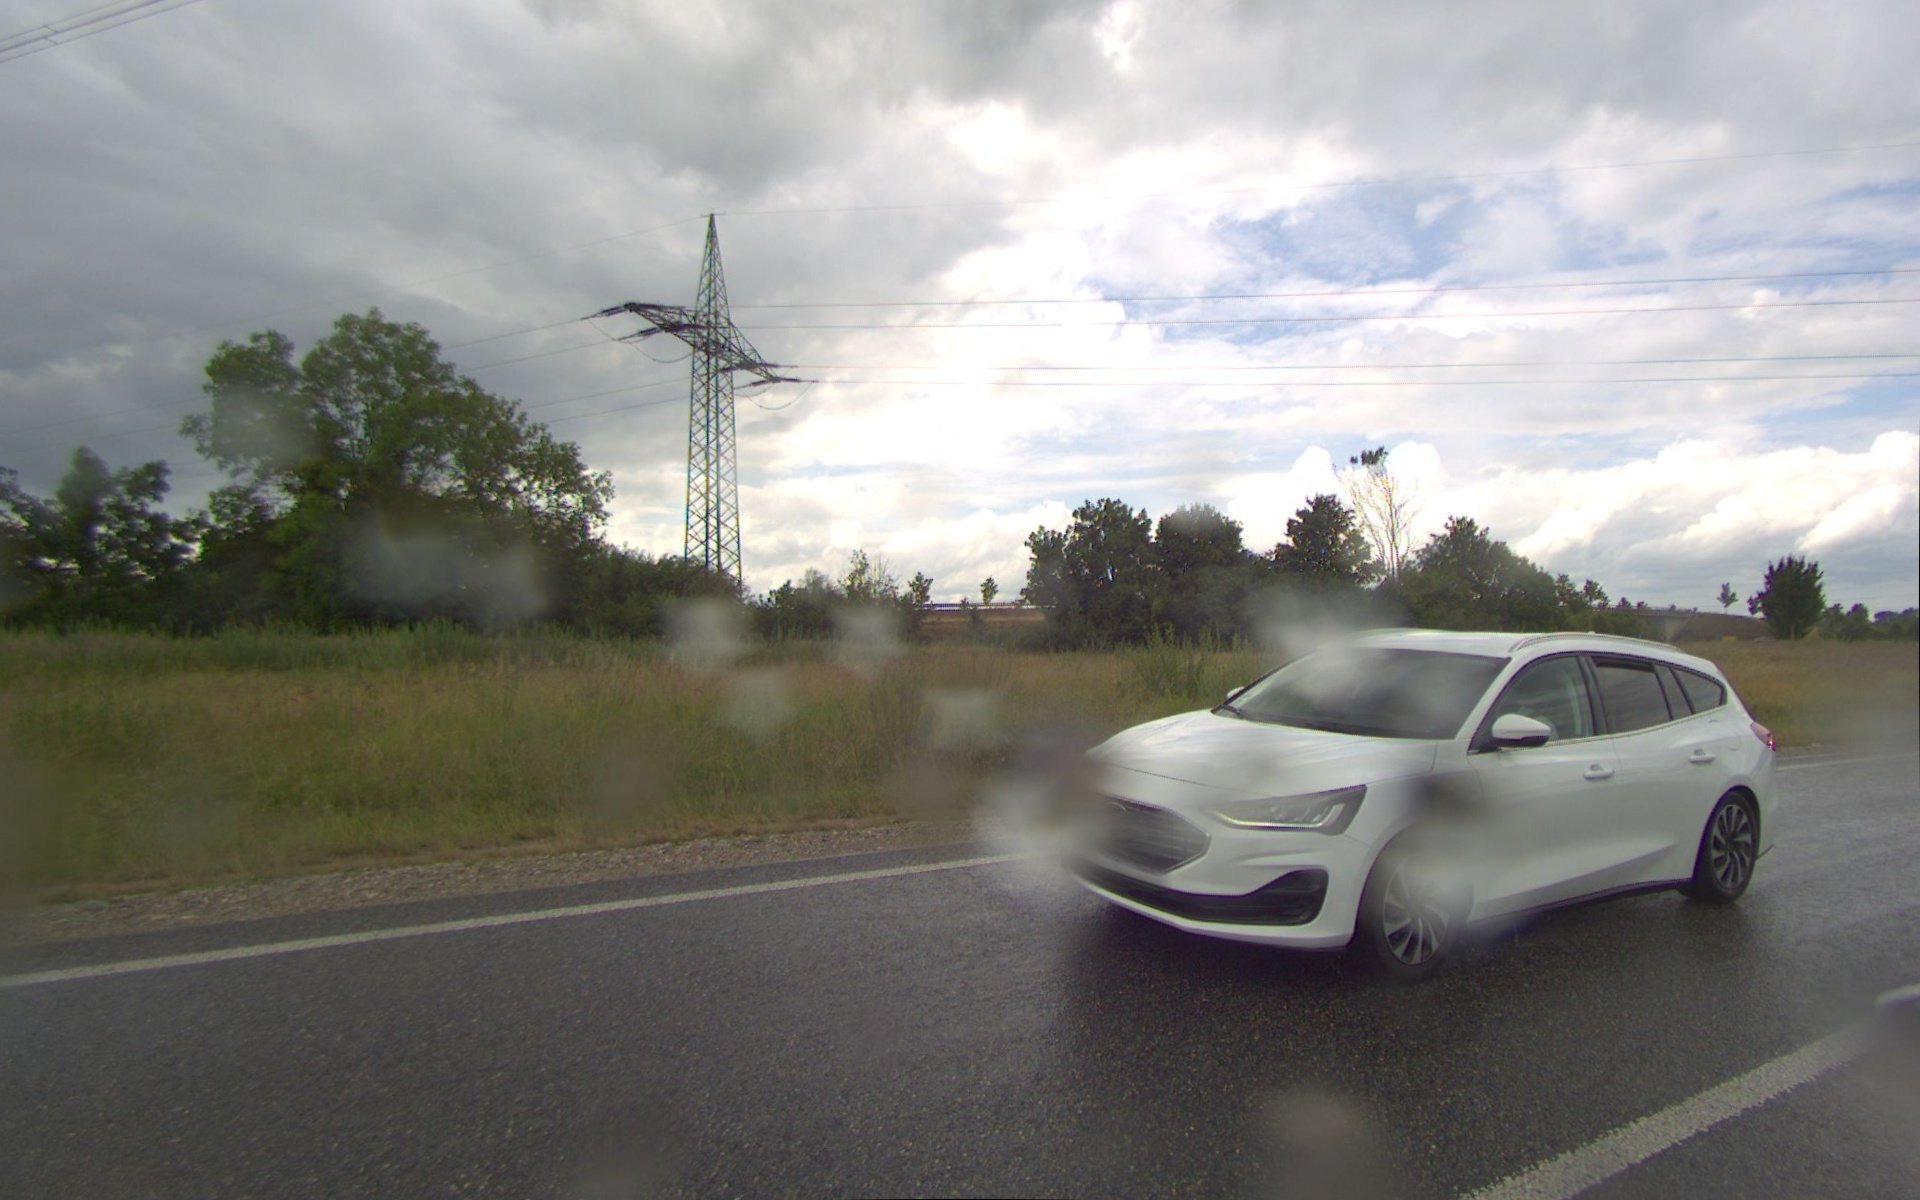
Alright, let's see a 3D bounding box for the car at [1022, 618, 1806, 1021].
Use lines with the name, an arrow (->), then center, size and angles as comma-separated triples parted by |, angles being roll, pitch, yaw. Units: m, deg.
car -> 2.615, 0.876, 5.516 | 4.238, 1.406, 1.835 | 2, 0, -31
